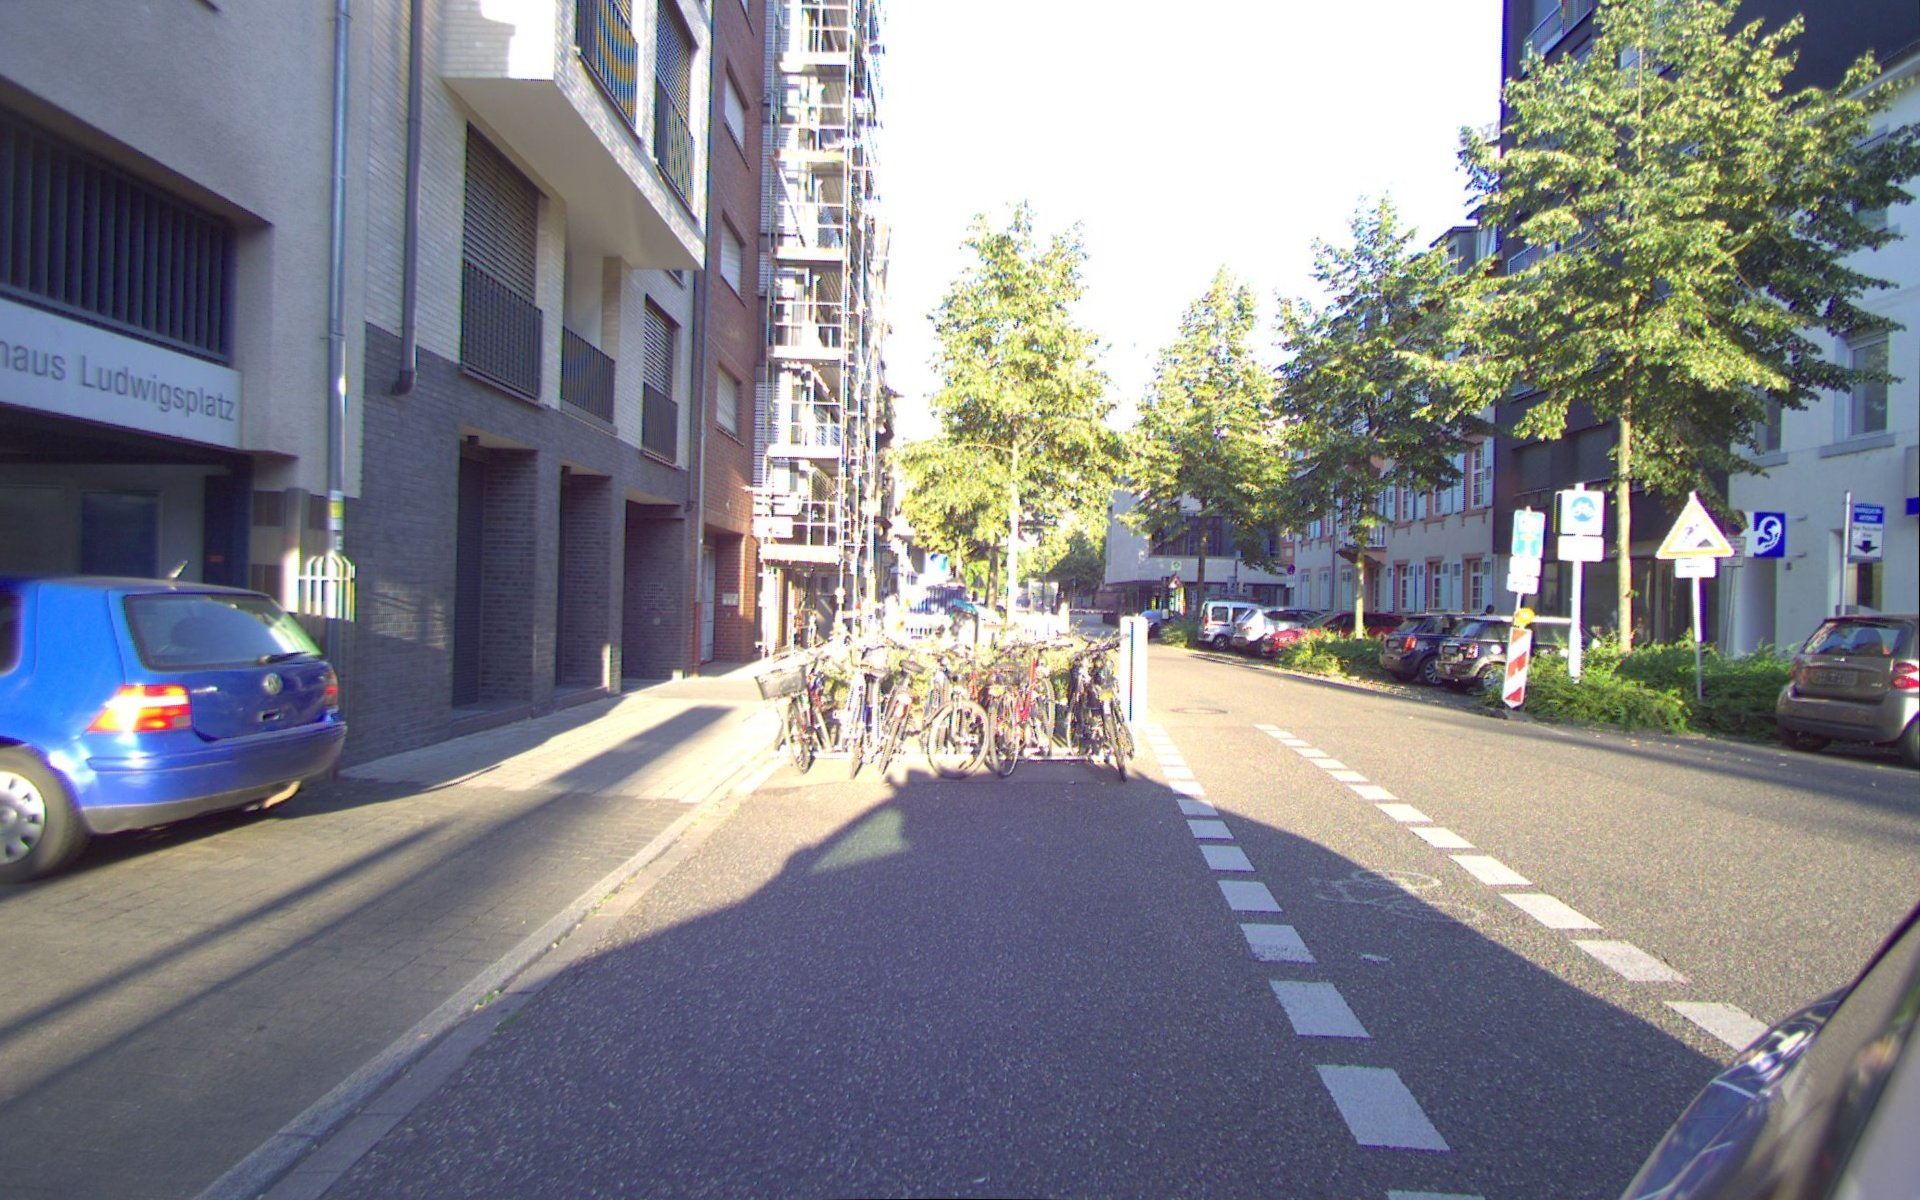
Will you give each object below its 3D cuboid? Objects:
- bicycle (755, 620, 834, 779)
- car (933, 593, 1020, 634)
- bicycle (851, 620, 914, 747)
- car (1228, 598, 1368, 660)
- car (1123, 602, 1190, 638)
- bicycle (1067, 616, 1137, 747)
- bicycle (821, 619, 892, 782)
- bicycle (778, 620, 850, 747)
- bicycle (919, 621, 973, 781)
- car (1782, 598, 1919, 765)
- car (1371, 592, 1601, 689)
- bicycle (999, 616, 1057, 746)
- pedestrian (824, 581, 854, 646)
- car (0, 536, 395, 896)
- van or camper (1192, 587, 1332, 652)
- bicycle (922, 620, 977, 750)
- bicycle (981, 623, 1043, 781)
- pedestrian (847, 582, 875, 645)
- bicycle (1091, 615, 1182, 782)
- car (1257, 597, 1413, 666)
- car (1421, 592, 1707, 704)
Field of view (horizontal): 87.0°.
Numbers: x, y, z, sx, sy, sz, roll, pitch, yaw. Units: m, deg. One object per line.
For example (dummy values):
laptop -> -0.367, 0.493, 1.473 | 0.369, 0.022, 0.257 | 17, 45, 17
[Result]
bicycle -> -1.378, 0.791, 8.587 | 0.381, 1.198, 1.405 | 2, 0, 1
car -> 0.805, 0.612, 47.212 | 3.928, 1.705, 1.889 | 2, 0, 4
bicycle -> -0.770, 0.807, 10.353 | 0.460, 1.158, 1.551 | 2, 0, 1
car -> 10.425, 0.867, 31.377 | 3.626, 1.691, 1.858 | 3, 0, -1
car -> 9.495, 0.979, 48.753 | 1.846, 1.588, 3.651 | 3, 0, 34
bicycle -> 1.421, 0.785, 10.326 | 0.499, 1.193, 1.551 | 2, 0, 1
bicycle -> -0.846, 0.787, 8.549 | 0.380, 1.204, 1.551 | 2, 0, 1
bicycle -> -1.461, 0.800, 10.320 | 0.450, 1.146, 1.551 | 2, 0, 1
bicycle -> -0.094, 0.788, 8.514 | 0.375, 1.174, 1.551 | 2, 0, 1
car -> 10.876, 0.834, 10.511 | 3.414, 1.595, 1.508 | 2, 0, -1
car -> 10.588, 0.778, 20.570 | 3.626, 1.691, 1.858 | 3, 0, -1
bicycle -> 0.674, 0.777, 10.336 | 0.479, 1.178, 1.551 | 2, 0, 1
pedestrian -> -3.431, 0.381, 28.694 | 0.730, 1.806, 0.656 | 1, -1, 1
car -> -5.577, 0.430, 5.465 | 4.041, 1.583, 1.693 | 3, 0, 0
van or camper -> 10.820, 0.691, 36.484 | 4.369, 2.031, 1.858 | 3, 0, -1
bicycle -> -0.084, 0.806, 10.220 | 0.479, 1.164, 1.551 | 2, 0, 1
bicycle -> 0.464, 0.801, 8.563 | 0.411, 1.171, 1.549 | 2, 0, 6
pedestrian -> -2.879, 0.387, 29.399 | 0.729, 1.806, 0.656 | 1, -1, 0
bicycle -> 1.455, 0.768, 8.551 | 0.489, 1.236, 1.551 | 2, 0, 1
car -> 10.584, 0.868, 28.742 | 3.626, 1.691, 1.858 | 3, 0, -1
car -> 10.688, 0.809, 18.125 | 3.932, 1.691, 1.858 | 3, 0, -1
